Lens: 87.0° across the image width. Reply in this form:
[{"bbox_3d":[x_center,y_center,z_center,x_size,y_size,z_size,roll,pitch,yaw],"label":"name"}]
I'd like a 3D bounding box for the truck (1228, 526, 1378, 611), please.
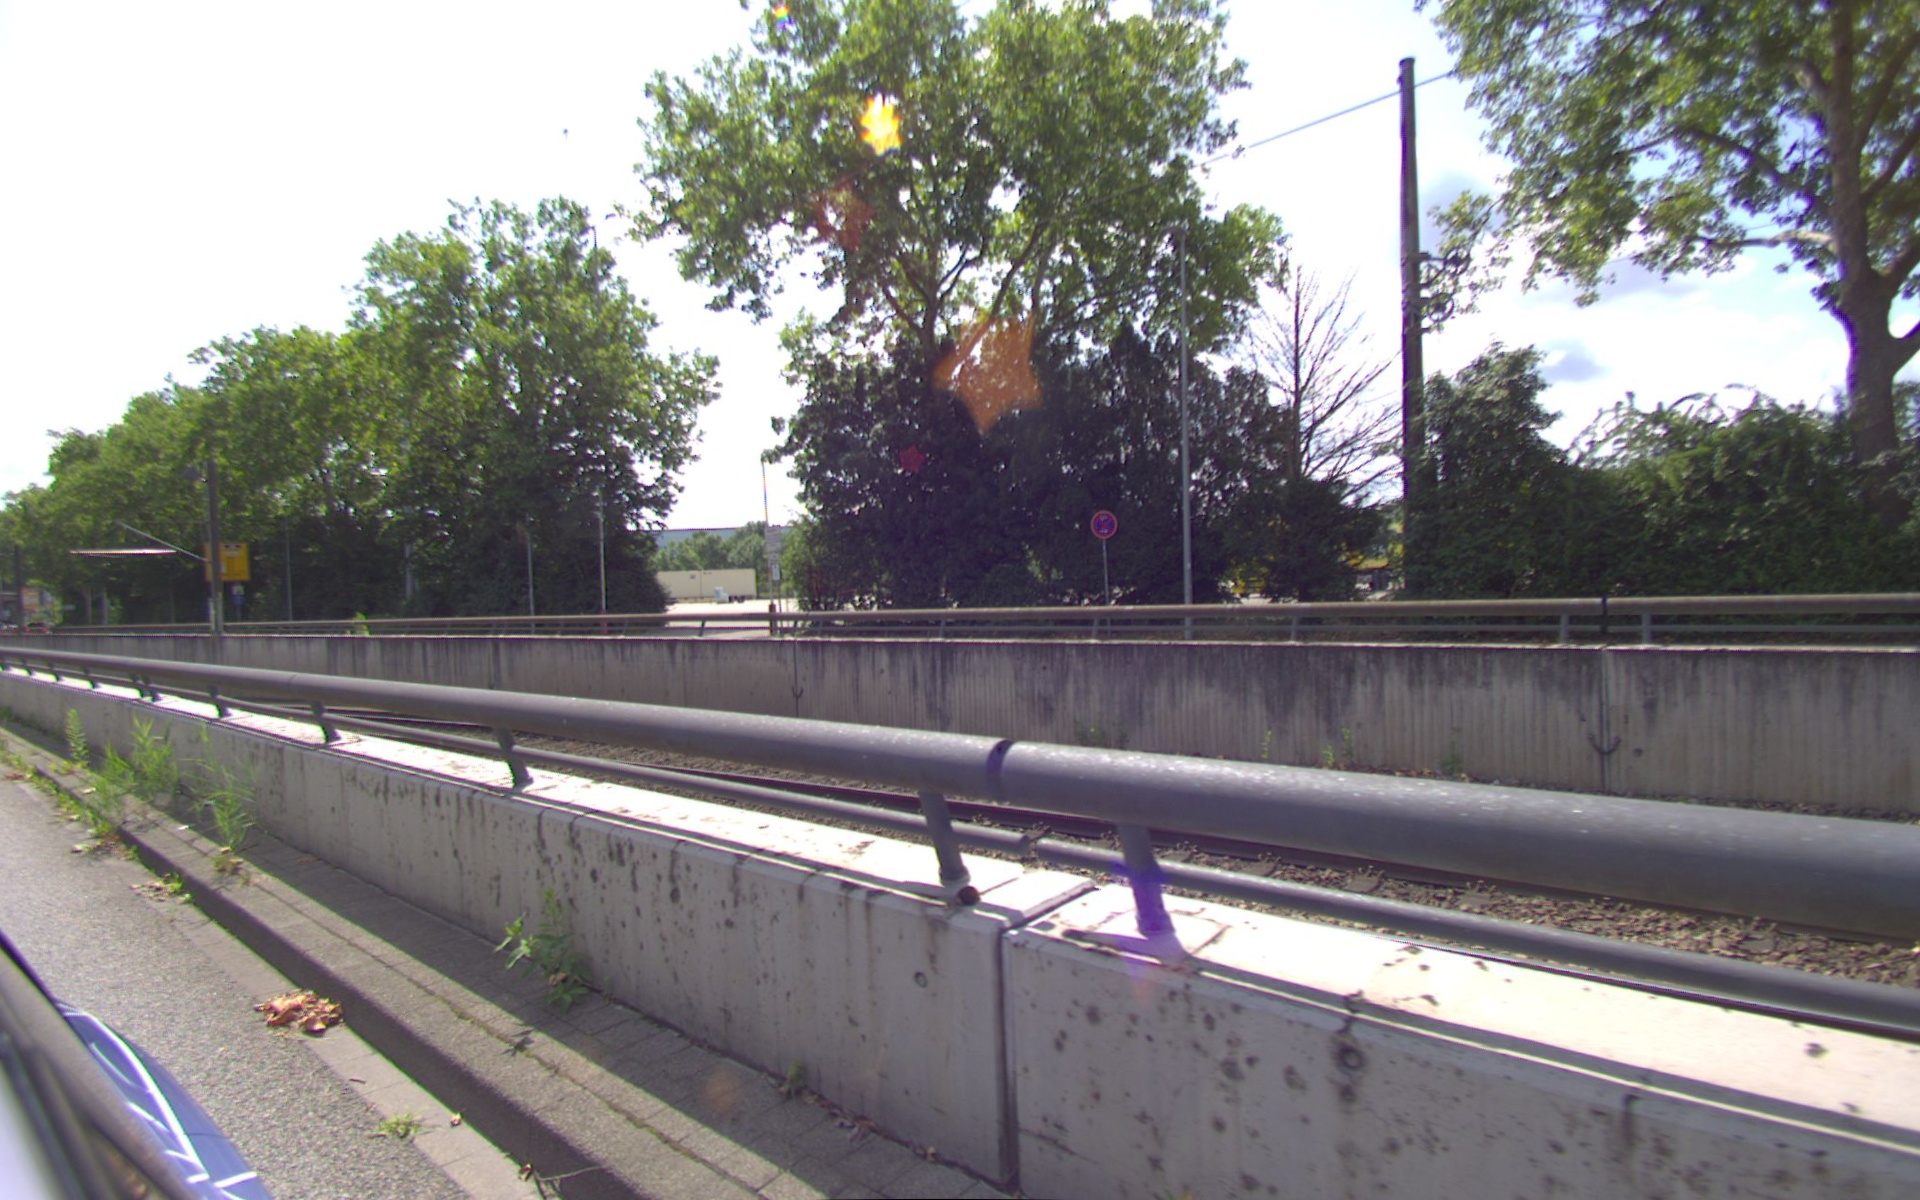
[{"bbox_3d":[18.781,-1.558,54.577,2.748,4.104,12.650,-2,-1,42],"label":"truck"}]

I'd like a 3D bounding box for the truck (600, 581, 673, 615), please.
[{"bbox_3d":[-37.416,-0.228,117.193,7.609,3.689,3.062,-1,-1,-4],"label":"truck"}]

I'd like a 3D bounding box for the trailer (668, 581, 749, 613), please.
[{"bbox_3d":[-29.251,-0.303,117.769,8.761,3.525,2.870,-1,-1,-4],"label":"trailer"}]
